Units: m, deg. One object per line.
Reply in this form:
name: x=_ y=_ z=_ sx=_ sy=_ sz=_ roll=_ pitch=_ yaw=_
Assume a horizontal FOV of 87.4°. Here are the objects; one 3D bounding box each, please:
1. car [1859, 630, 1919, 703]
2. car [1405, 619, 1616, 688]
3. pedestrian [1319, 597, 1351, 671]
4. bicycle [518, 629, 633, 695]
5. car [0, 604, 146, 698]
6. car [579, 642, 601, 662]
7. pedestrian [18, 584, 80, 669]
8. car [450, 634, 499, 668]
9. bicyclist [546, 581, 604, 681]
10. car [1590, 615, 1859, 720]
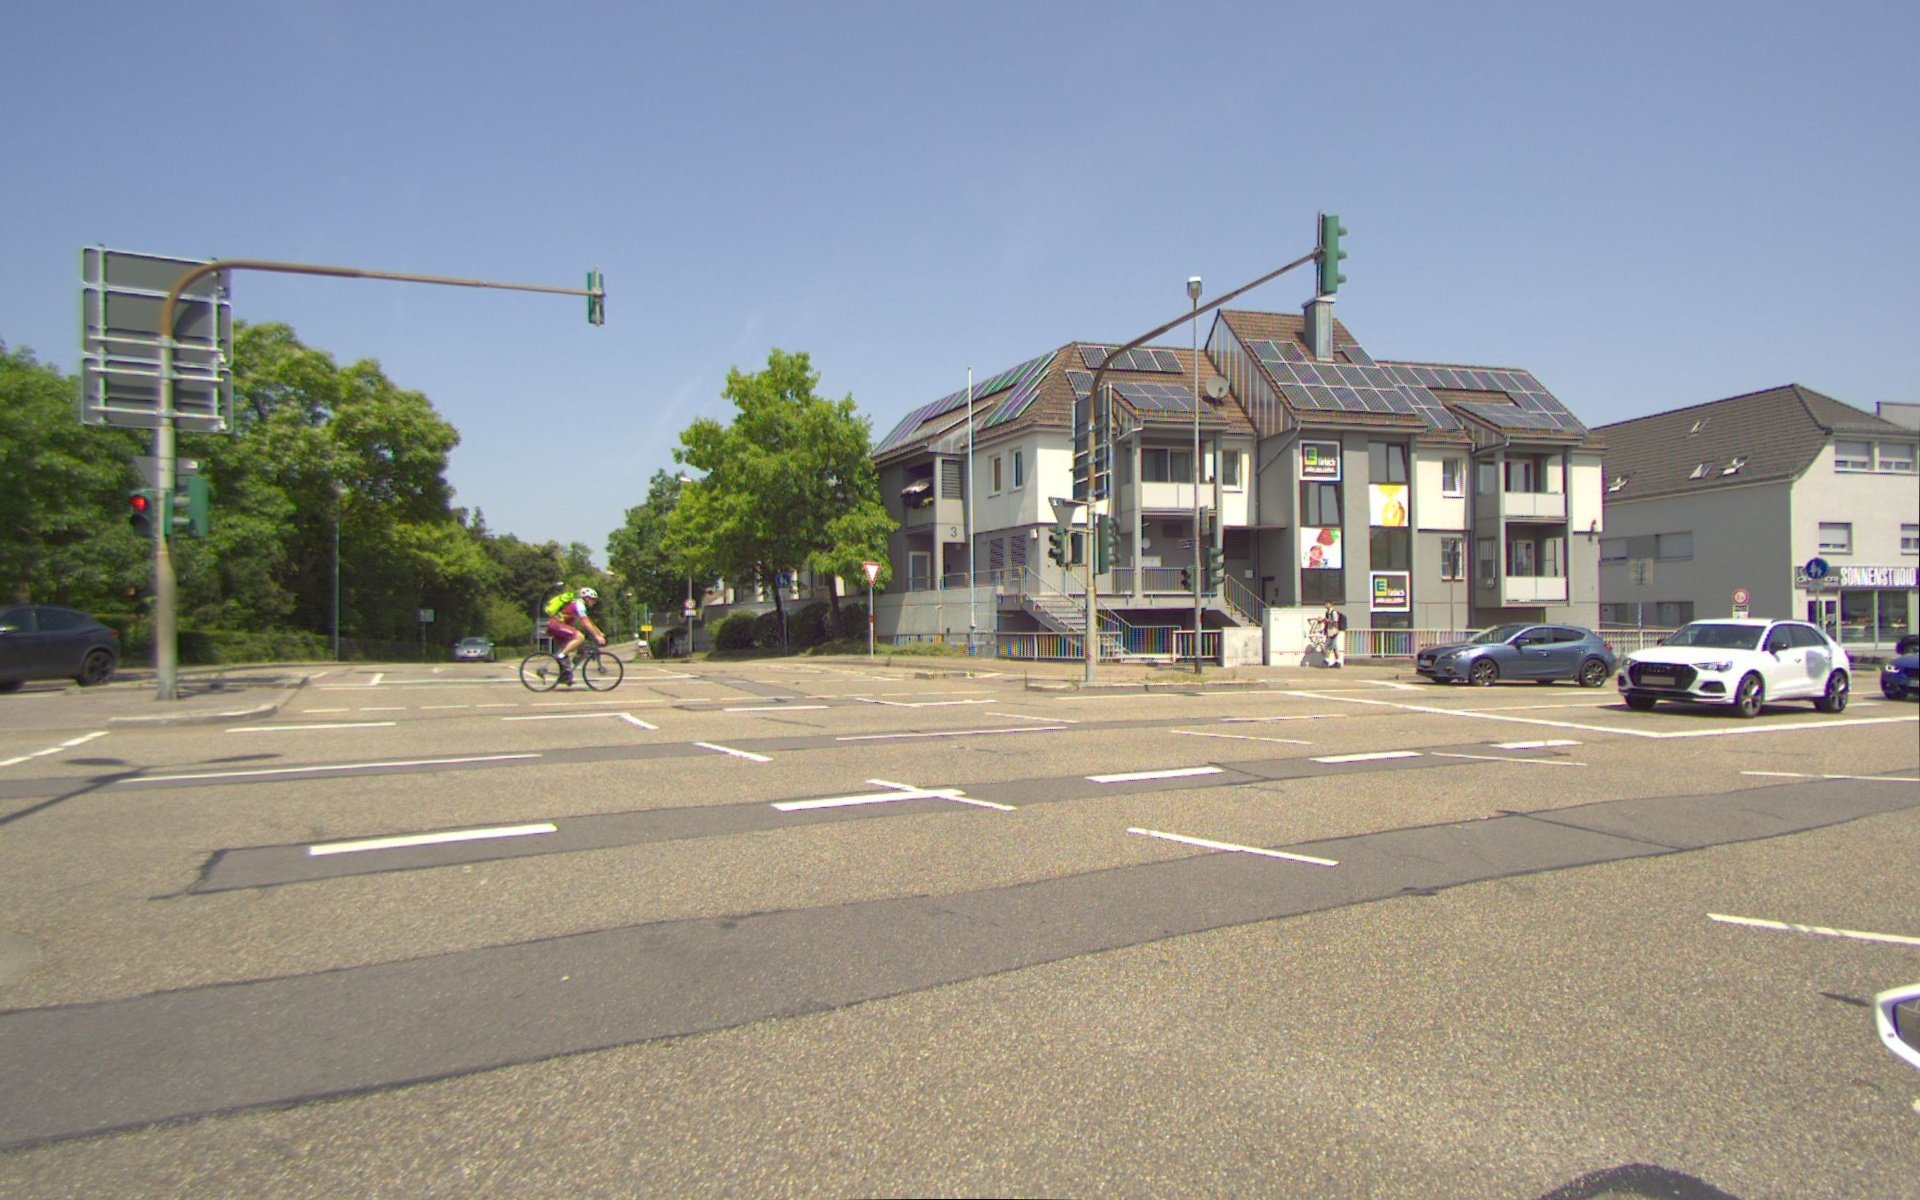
car: x=20.610 y=1.351 z=20.397 sx=4.285 sy=1.384 sz=1.859 roll=1 pitch=0 yaw=-23
car: x=12.700 y=1.208 z=23.257 sx=4.191 sy=1.469 sz=1.494 roll=0 pitch=0 yaw=-6
pedestrian: x=10.448 y=0.936 z=27.983 sx=0.734 sy=2.041 sz=0.500 roll=-1 pitch=1 yaw=-31
bicycle: x=-6.550 y=1.050 z=17.171 sx=1.773 sy=1.068 sz=0.417 roll=2 pitch=0 yaw=-37
car: x=-16.421 y=0.880 z=16.885 sx=1.965 sy=1.505 sz=4.441 roll=-1 pitch=-2 yaw=-2
car: x=-37.153 y=5.217 z=100.912 sx=1.971 sy=1.927 sz=3.980 roll=1 pitch=-2 yaw=-22
pedestrian: x=-20.806 y=0.593 z=22.962 sx=0.973 sy=1.896 sz=0.806 roll=2 pitch=0 yaw=-41
car: x=-27.038 y=2.809 z=56.059 sx=1.734 sy=1.631 sz=4.745 roll=2 pitch=0 yaw=-17
bicyclist: x=-6.569 y=0.526 z=17.136 sx=0.813 sy=1.664 sz=0.418 roll=1 pitch=0 yaw=-37
car: x=13.196 y=1.103 z=17.313 sx=4.494 sy=1.591 sz=1.811 roll=1 pitch=0 yaw=-25
